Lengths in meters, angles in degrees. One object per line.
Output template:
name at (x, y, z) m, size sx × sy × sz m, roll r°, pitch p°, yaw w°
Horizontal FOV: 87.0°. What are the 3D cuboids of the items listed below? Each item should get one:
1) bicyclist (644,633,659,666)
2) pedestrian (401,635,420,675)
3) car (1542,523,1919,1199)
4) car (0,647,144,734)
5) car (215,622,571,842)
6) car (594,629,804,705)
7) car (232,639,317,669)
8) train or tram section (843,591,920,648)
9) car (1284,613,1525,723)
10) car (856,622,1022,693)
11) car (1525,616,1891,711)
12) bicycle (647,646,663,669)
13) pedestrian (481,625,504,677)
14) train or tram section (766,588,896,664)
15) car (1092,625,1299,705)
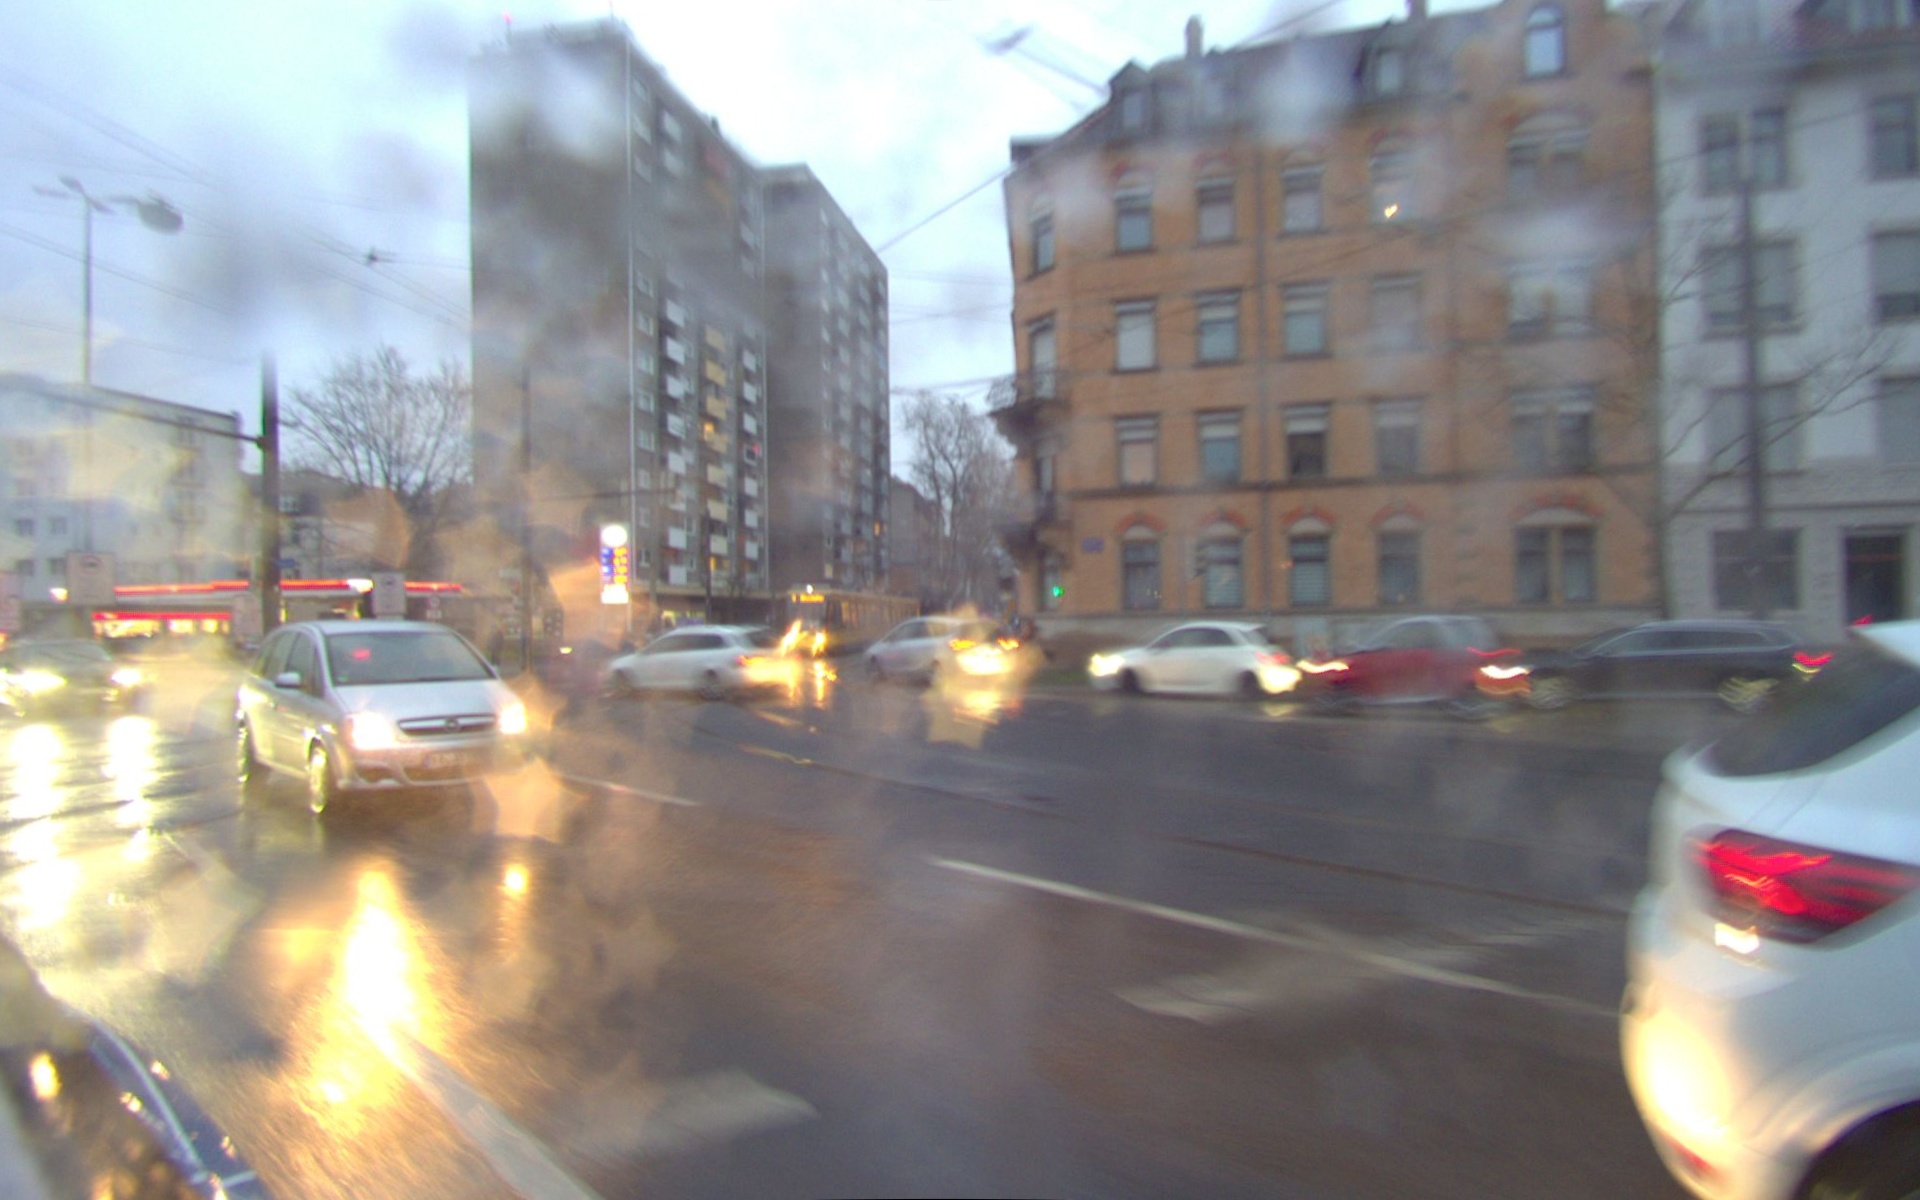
bicyclist at (-13.231, 2.119, 43.388) m, size 0.498 × 1.401 × 0.971 m, roll -1°, pitch -1°, yaw -13°
pedestrian at (-25.712, 2.573, 47.350) m, size 0.525 × 1.806 × 0.627 m, roll -2°, pitch -1°, yaw 2°
car at (3.213, 0.567, 1.297) m, size 3.998 × 1.498 × 1.609 m, roll -3°, pitch -3°, yaw 42°
car at (-18.143, 1.770, 20.505) m, size 3.996 × 1.556 × 1.731 m, roll -3°, pitch -3°, yaw 40°
car at (-5.349, 1.022, 9.300) m, size 4.108 × 1.560 × 1.628 m, roll -2°, pitch -2°, yaw 42°
car at (-5.541, 1.372, 21.343) m, size 4.314 × 1.468 × 1.670 m, roll -2°, pitch -2°, yaw 28°
car at (-38.613, 3.015, 57.143) m, size 1.759 × 1.542 × 3.990 m, roll -1°, pitch -2°, yaw 8°
train or tram section at (-4.861, 1.185, 65.405) m, size 3.130 × 3.262 × 11.133 m, roll -1°, pitch 0°, yaw 5°
car at (6.592, 0.979, 15.180) m, size 3.135 × 1.498 × 1.479 m, roll -2°, pitch -2°, yaw 25°
car at (-0.595, 1.331, 24.272) m, size 1.659 × 1.537 × 4.234 m, roll 1°, pitch -2°, yaw -41°
car at (11.697, 0.985, 16.213) m, size 4.357 × 1.364 × 1.673 m, roll -2°, pitch -2°, yaw 22°
bicycle at (-12.981, 2.432, 43.095) m, size 0.498 × 0.907 × 1.990 m, roll -1°, pitch -1°, yaw -13°
pedestrian at (-16.284, 1.774, 35.250) m, size 0.627 × 1.785 × 0.463 m, roll -2°, pitch -1°, yaw 36°
train or tram section at (-6.075, 1.171, 51.758) m, size 3.130 × 3.212 × 16.282 m, roll -1°, pitch 0°, yaw 5°
car at (4.522, 1.222, 19.438) m, size 3.592 × 1.402 × 1.671 m, roll -2°, pitch -2°, yaw 25°
